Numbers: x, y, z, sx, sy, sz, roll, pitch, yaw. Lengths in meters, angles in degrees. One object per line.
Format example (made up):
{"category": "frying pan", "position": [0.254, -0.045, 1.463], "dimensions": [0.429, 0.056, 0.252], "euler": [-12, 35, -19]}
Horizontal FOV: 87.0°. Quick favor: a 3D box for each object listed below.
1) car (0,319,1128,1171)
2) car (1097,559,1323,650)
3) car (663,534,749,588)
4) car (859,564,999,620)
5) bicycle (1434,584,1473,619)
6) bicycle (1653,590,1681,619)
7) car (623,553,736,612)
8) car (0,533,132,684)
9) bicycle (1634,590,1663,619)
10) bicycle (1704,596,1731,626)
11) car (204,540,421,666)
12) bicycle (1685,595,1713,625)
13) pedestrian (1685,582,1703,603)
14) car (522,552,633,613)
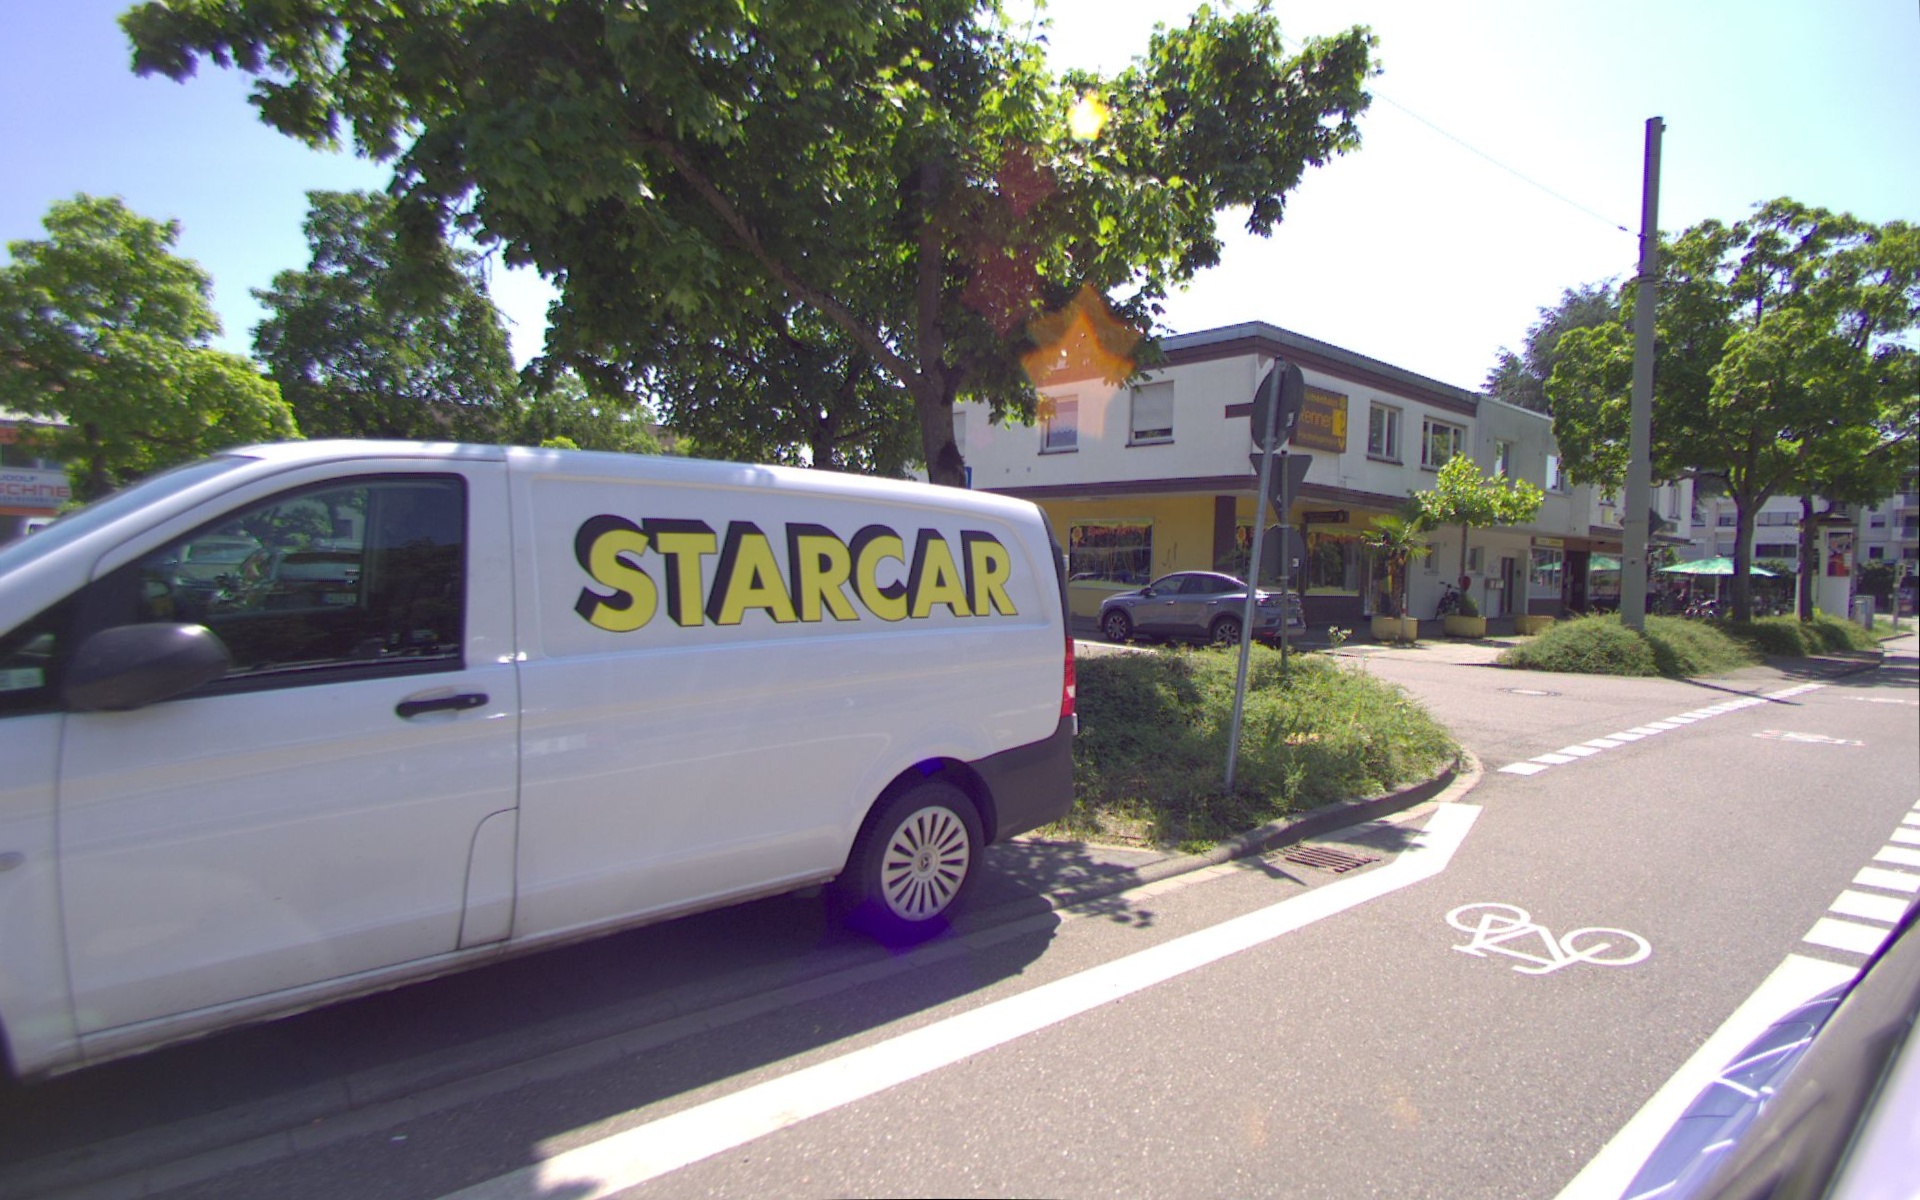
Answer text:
{"category": "car", "position": [-1.787, 0.274, 3.834], "dimensions": [5.033, 1.939, 1.884], "euler": [0, 4, -40]}
{"category": "car", "position": [5.058, 0.022, 20.856], "dimensions": [1.912, 1.630, 4.144], "euler": [0, 2, -43]}
{"category": "car", "position": [-12.449, -1.912, 49.392], "dimensions": [1.965, 2.443, 5.083], "euler": [0, 2, -40]}
{"category": "car", "position": [-0.936, -0.259, 28.194], "dimensions": [1.717, 1.391, 4.149], "euler": [0, 2, -39]}
{"category": "bicycle", "position": [16.033, 0.034, 32.870], "dimensions": [0.542, 1.081, 1.870], "euler": [3, 2, 45]}
{"category": "bicycle", "position": [27.764, 0.177, 39.743], "dimensions": [0.542, 1.081, 1.989], "euler": [3, 2, 45]}
{"category": "car", "position": [-8.067, -0.536, 28.890], "dimensions": [1.603, 1.454, 3.991], "euler": [0, 4, -39]}
{"category": "car", "position": [-9.767, 0.071, 10.511], "dimensions": [1.698, 1.342, 3.892], "euler": [0, 0, -41]}
{"category": "bicycle", "position": [27.320, 0.169, 40.152], "dimensions": [0.542, 1.081, 1.989], "euler": [3, 2, 45]}
{"category": "bicycle", "position": [28.746, 0.409, 38.395], "dimensions": [0.542, 1.081, 1.989], "euler": [3, 2, 45]}
{"category": "car", "position": [-8.029, 0.023, 12.394], "dimensions": [1.698, 1.297, 3.892], "euler": [0, 0, -41]}
{"category": "bicycle", "position": [28.355, 0.377, 38.832], "dimensions": [0.542, 1.081, 1.989], "euler": [3, 2, 45]}
{"category": "pedestrian", "position": [59.080, -0.575, 81.458], "dimensions": [0.925, 1.645, 0.808], "euler": [1, 2, -35]}
{"category": "car", "position": [-10.376, -0.509, 27.271], "dimensions": [1.603, 1.386, 3.991], "euler": [0, 4, -39]}
